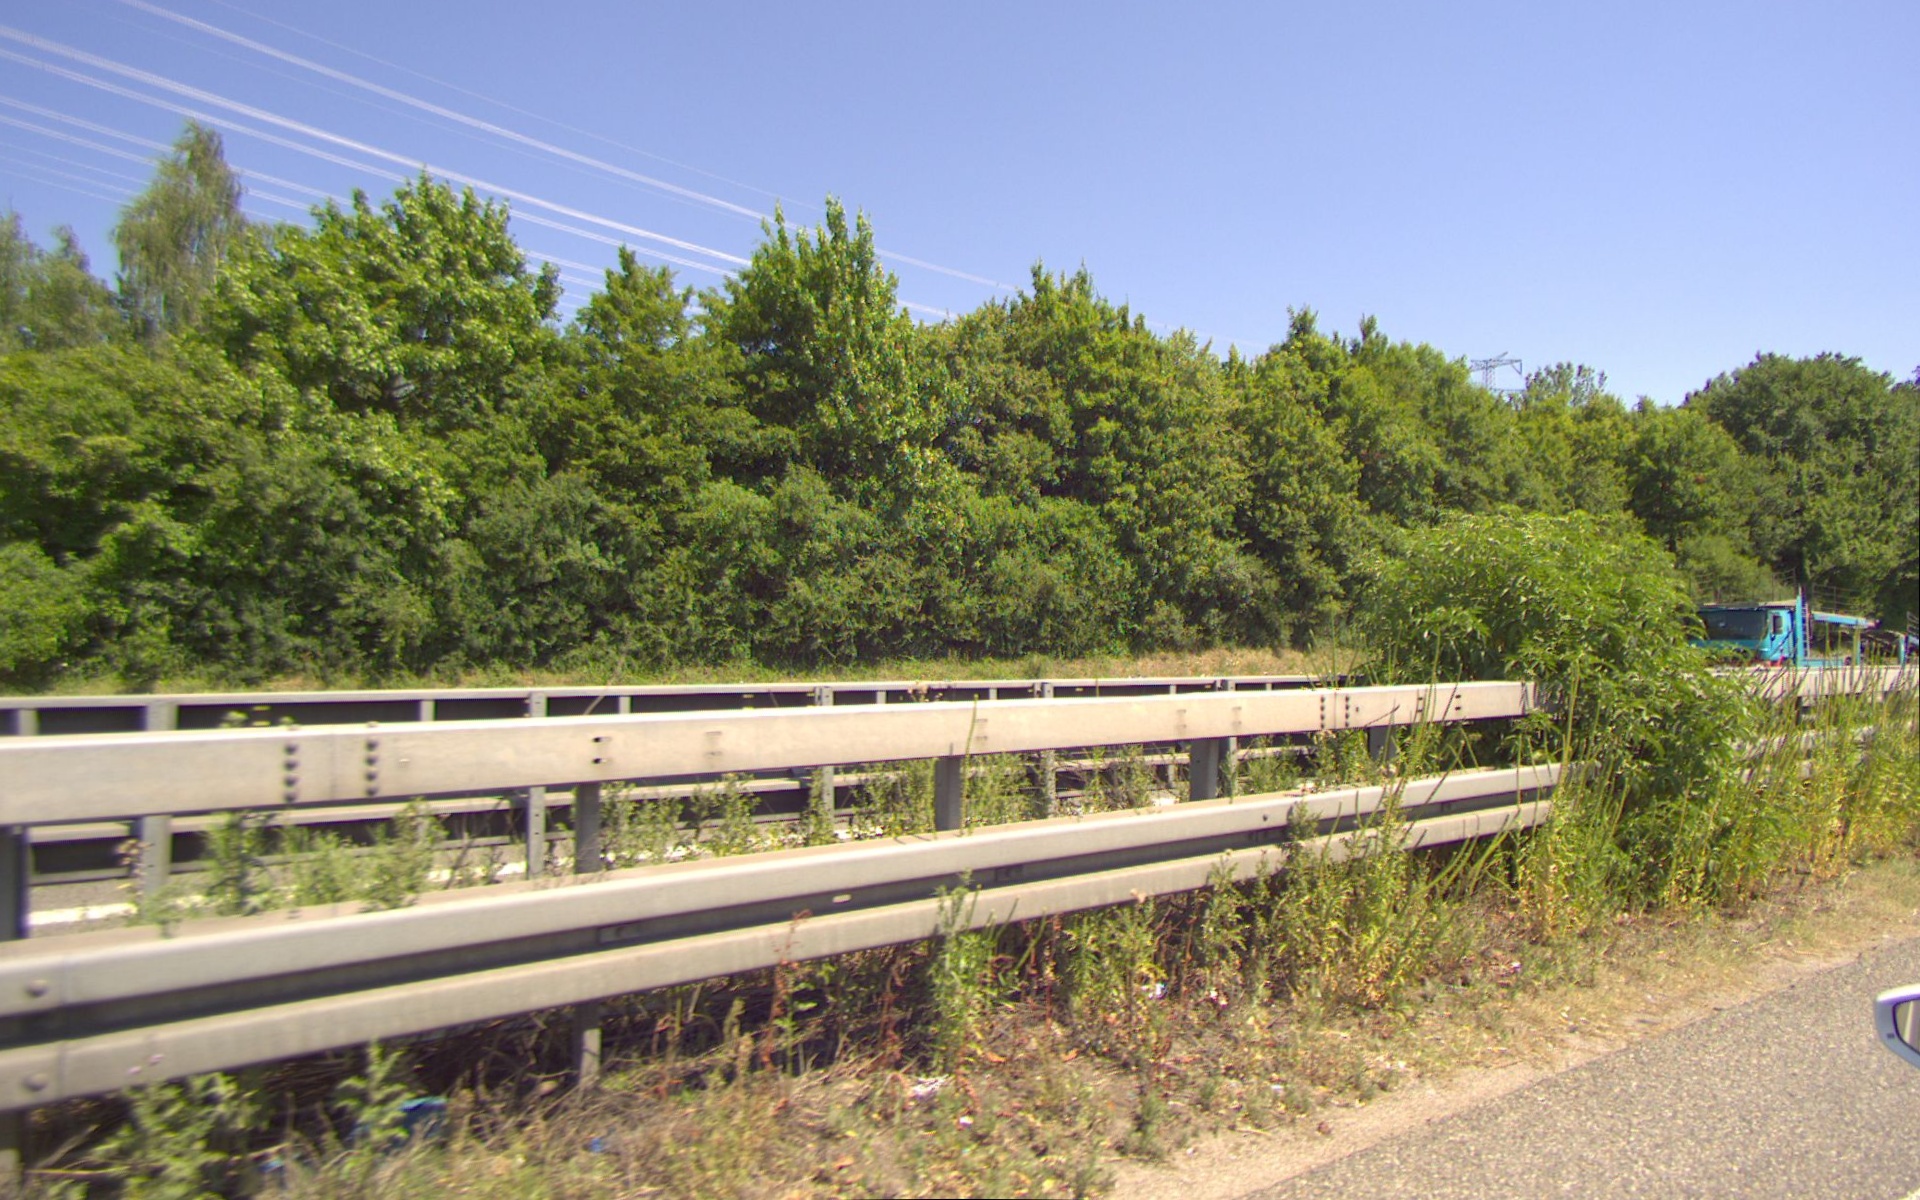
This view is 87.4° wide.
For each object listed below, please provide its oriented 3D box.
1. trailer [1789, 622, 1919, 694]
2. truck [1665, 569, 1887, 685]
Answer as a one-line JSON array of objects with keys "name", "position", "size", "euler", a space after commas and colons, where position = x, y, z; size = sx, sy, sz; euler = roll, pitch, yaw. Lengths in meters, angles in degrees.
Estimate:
[{"name": "trailer", "position": [38.777, 2.398, 42.298], "size": [8.429, 2.674, 3.132], "euler": [2, 0, -30]}, {"name": "truck", "position": [30.591, 1.076, 37.465], "size": [10.664, 3.852, 2.981], "euler": [2, -2, -31]}]
